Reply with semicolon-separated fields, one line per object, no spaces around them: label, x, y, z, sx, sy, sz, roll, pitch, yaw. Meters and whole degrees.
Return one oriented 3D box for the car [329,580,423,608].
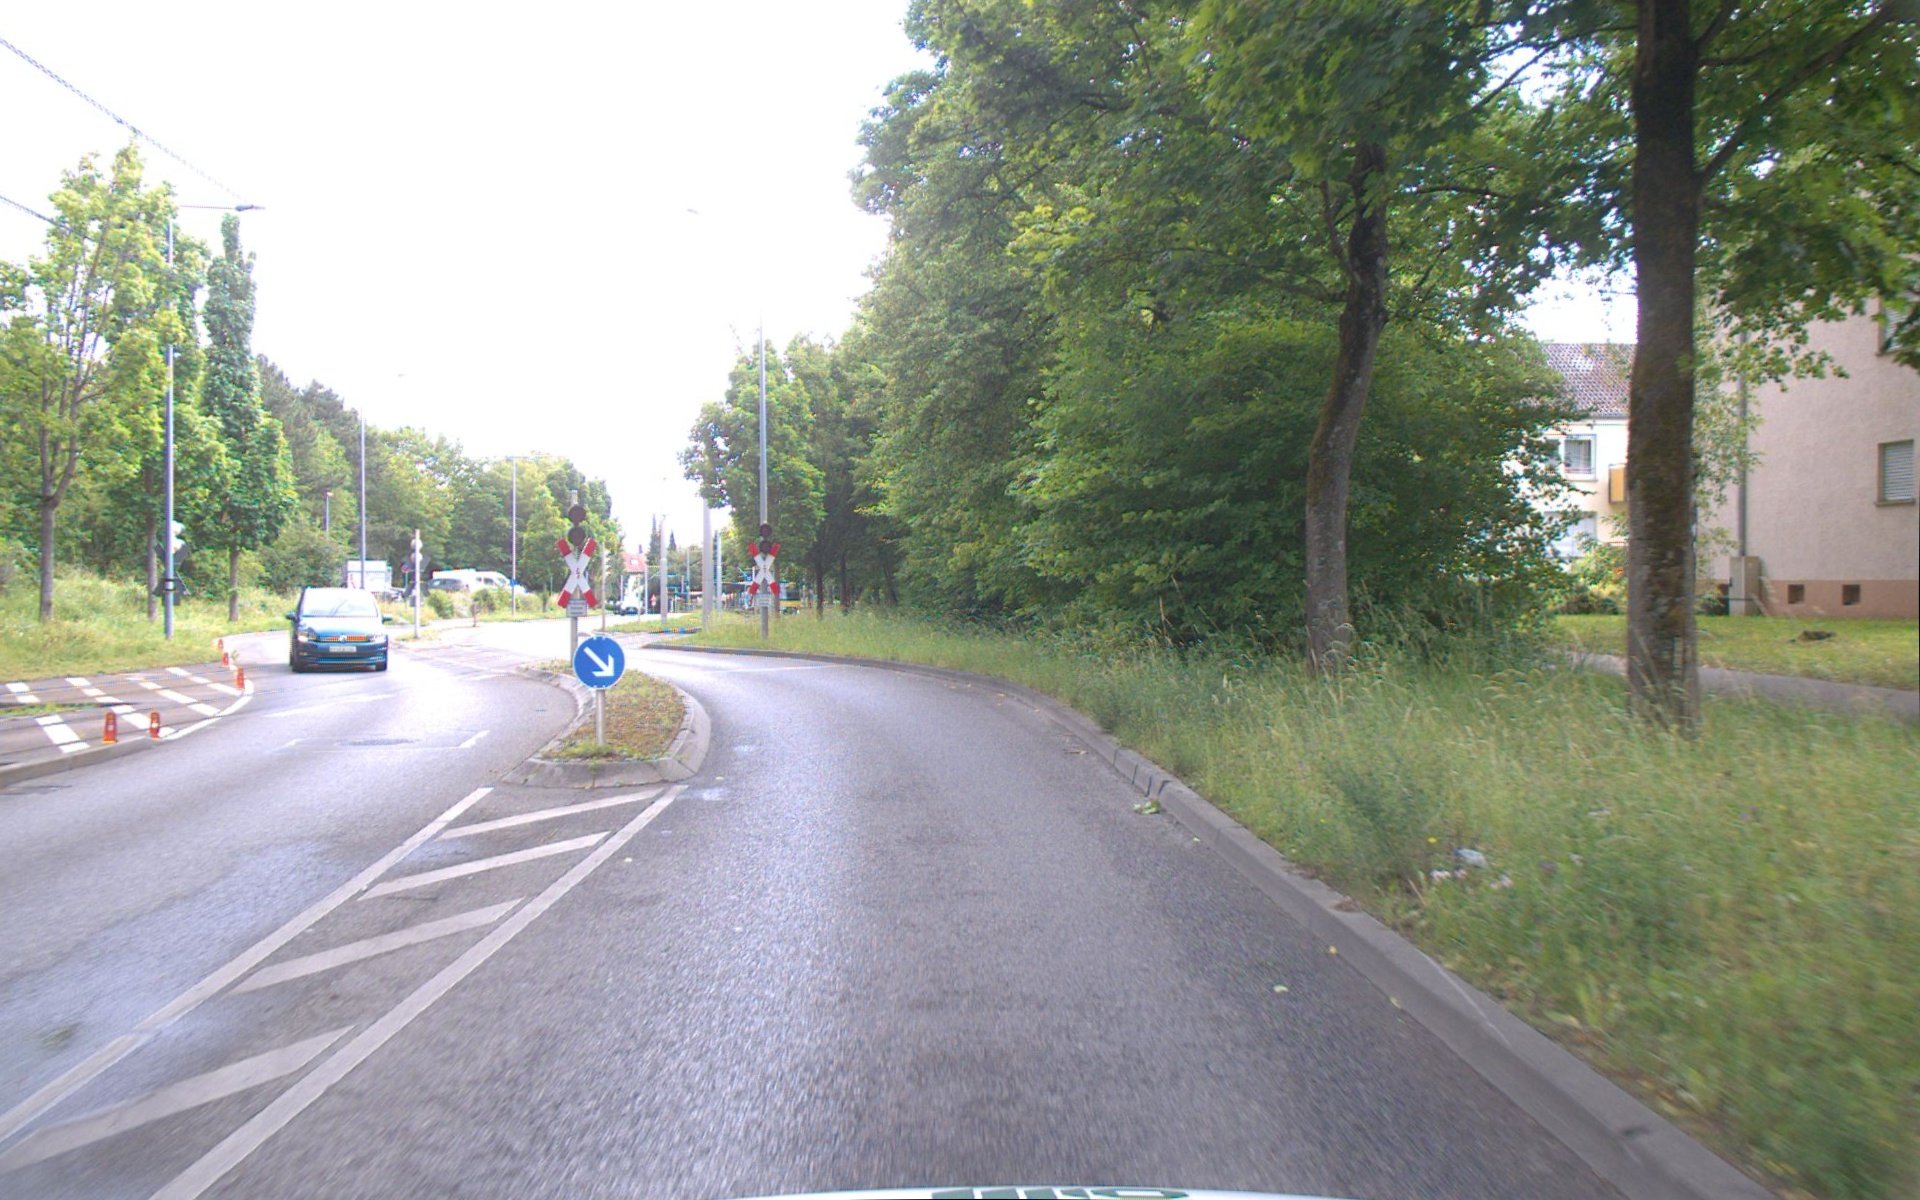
car;-34.468;-0.338;97.697;4.832;1.613;2.204;0;0;-7

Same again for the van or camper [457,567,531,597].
van or camper;-36.017;-1.361;127.933;5.230;2.241;1.997;1;0;-7

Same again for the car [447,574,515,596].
car;-36.240;-1.137;125.275;4.546;1.685;2.000;0;0;1

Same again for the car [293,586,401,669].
car;-12.570;0.510;33.774;1.842;1.547;4.208;0;1;-23

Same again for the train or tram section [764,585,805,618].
train or tram section;-20.319;0.176;189.521;2.952;3.369;34.638;1;0;-9

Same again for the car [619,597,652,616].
car;-27.276;0.525;139.142;1.953;1.463;4.424;-2;0;-2

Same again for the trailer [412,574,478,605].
trailer;-35.335;-0.709;113.511;3.907;2.049;1.907;0;0;-3
